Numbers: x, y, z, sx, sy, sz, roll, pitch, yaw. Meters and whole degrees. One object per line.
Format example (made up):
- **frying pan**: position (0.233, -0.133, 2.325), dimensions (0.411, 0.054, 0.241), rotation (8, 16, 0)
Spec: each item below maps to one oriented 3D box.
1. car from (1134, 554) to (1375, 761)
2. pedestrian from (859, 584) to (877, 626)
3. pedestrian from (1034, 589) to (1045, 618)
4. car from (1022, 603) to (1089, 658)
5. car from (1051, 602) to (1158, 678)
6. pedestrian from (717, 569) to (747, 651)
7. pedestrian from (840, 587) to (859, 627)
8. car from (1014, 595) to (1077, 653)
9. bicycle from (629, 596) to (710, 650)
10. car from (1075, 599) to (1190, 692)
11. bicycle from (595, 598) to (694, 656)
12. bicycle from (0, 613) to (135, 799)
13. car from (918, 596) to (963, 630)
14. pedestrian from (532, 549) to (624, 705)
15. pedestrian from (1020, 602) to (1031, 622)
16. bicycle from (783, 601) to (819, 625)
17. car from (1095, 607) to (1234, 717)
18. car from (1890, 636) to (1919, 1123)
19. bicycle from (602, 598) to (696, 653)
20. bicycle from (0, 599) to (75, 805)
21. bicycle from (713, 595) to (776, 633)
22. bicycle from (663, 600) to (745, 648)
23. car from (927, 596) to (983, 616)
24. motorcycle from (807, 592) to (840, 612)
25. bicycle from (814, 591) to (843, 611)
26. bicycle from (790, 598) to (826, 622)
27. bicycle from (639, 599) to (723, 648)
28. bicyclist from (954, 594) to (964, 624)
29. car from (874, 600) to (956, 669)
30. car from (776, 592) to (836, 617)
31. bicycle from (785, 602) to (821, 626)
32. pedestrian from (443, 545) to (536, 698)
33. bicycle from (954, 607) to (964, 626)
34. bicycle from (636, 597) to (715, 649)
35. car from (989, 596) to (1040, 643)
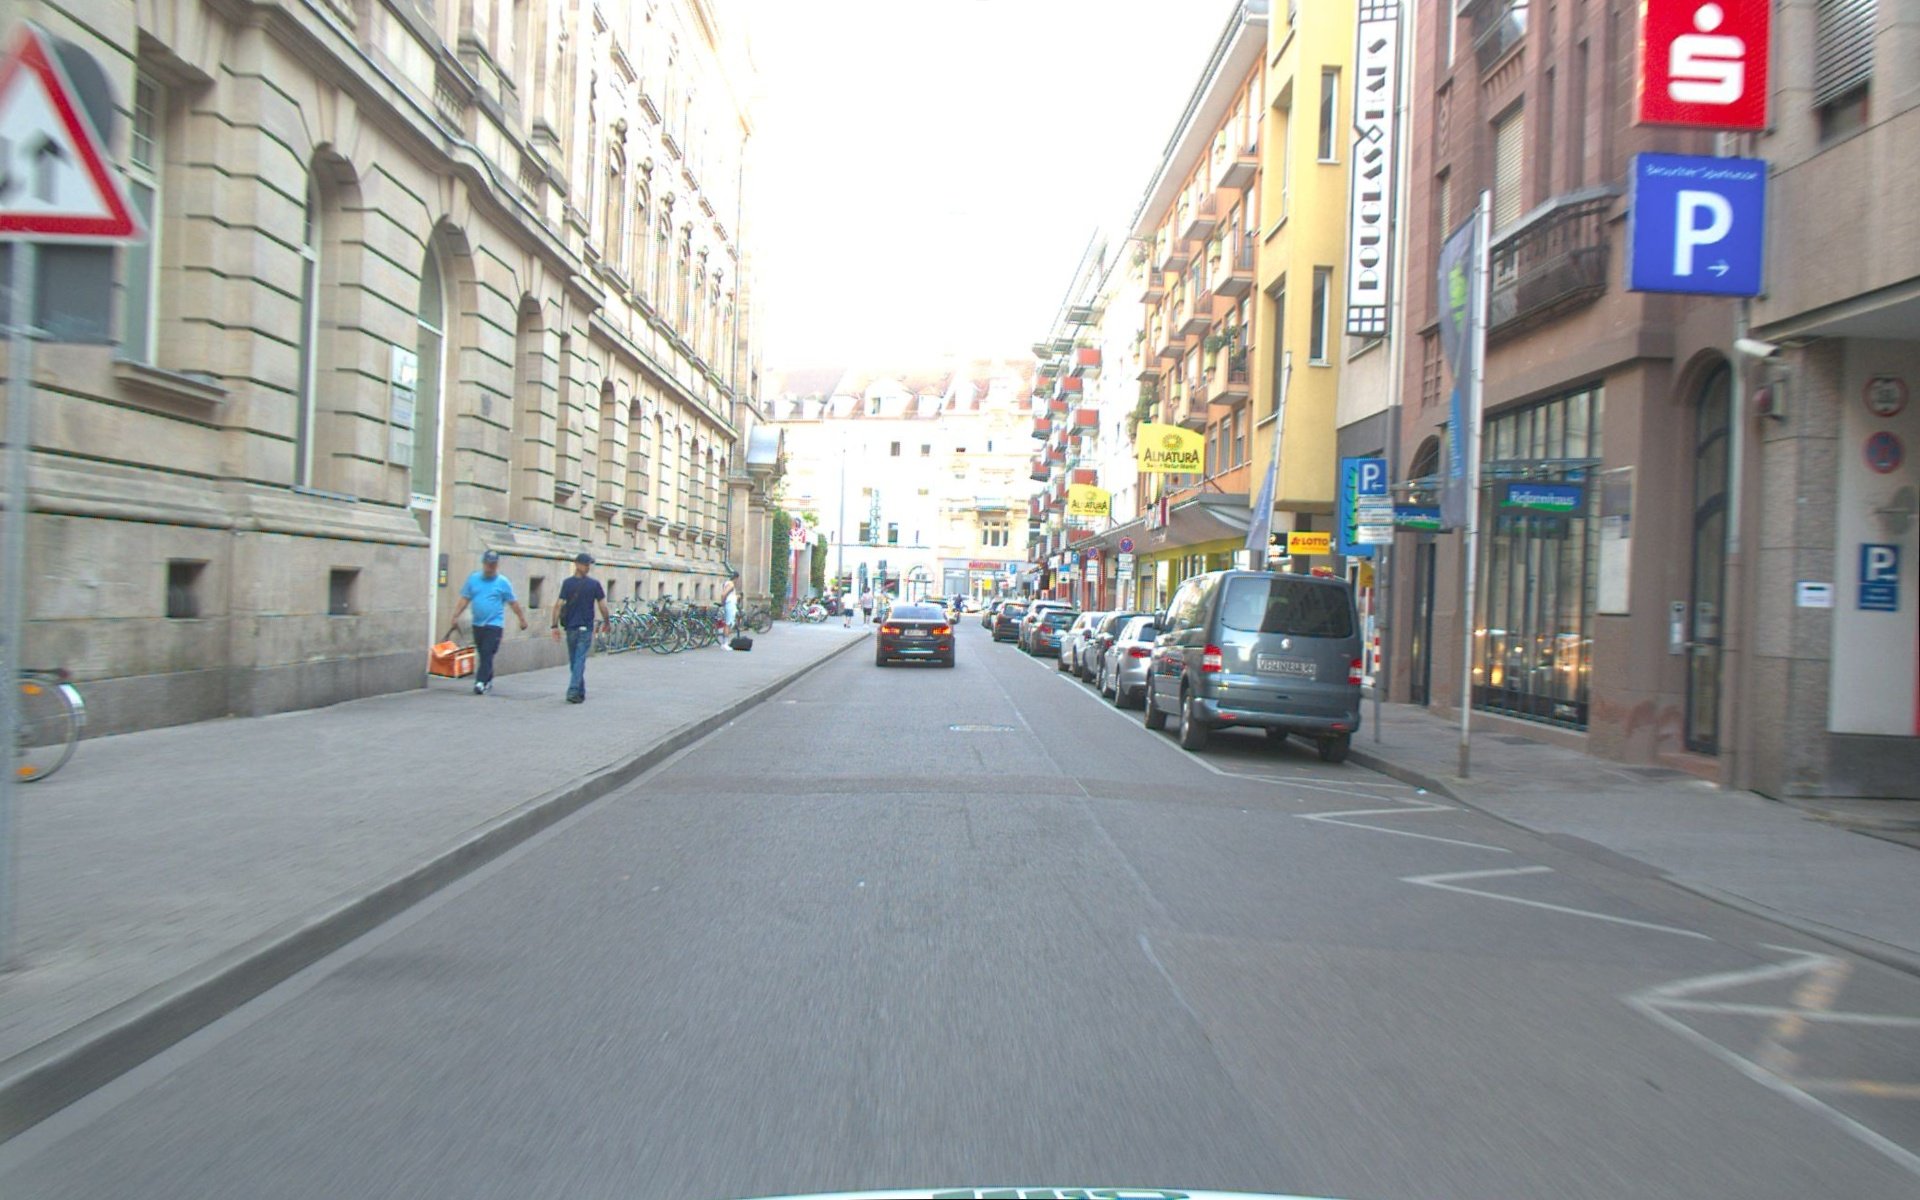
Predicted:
- **car**: position (3.372, 0.619, 19.968), dimensions (1.809, 2.094, 5.052), rotation (3, 0, -1)
- **pedestrian**: position (-4.351, 0.236, 78.362), dimensions (0.729, 1.926, 1.050), rotation (3, 0, 0)
- **pedestrian**: position (4.693, 0.218, 97.653), dimensions (0.634, 1.690, 0.655), rotation (-1, 0, 1)
- **car**: position (2.853, 0.879, 50.185), dimensions (1.657, 1.439, 4.756), rotation (4, 0, 0)
- **car**: position (3.194, 0.843, 37.339), dimensions (1.658, 1.435, 4.636), rotation (4, 0, -4)
- **pedestrian**: position (-5.417, 0.230, 39.291), dimensions (0.577, 1.883, 0.753), rotation (3, 0, -6)
- **pedestrian**: position (-5.194, 0.340, 78.059), dimensions (0.726, 1.844, 1.008), rotation (4, 0, -1)
- **car**: position (2.813, 0.760, 55.153), dimensions (1.716, 1.697, 4.756), rotation (4, 0, 0)
- **bicycle**: position (-6.660, 0.532, 37.984), dimensions (1.760, 1.127, 0.499), rotation (3, -1, -7)
- **car**: position (3.281, 0.830, 32.169), dimensions (1.586, 1.542, 4.172), rotation (4, 0, -2)
- **bicycle**: position (-6.577, 0.562, 34.519), dimensions (1.898, 1.080, 0.619), rotation (3, -1, -2)
- **bicycle**: position (-6.236, 0.609, 10.167), dimensions (1.898, 1.064, 0.721), rotation (3, 0, -6)
- **car**: position (-0.870, 0.572, 76.804), dimensions (1.838, 1.498, 4.002), rotation (1, 0, 3)
- **pedestrian**: position (-4.561, 0.321, 19.818), dimensions (0.793, 1.781, 0.969), rotation (3, -1, -1)
- **pedestrian**: position (4.274, 0.799, 107.615), dimensions (0.672, 1.309, 0.609), rotation (0, -1, 8)
- **bicycle**: position (-7.941, 0.666, 82.648), dimensions (1.758, 1.127, 0.500), rotation (2, 0, -2)
- **car**: position (3.253, 0.941, 27.054), dimensions (1.652, 1.478, 4.498), rotation (4, 0, 0)
- **car**: position (3.801, 0.879, 3.043), dimensions (1.623, 1.473, 4.306), rotation (3, 0, -2)
- **bicycle**: position (-6.713, 0.548, 35.764), dimensions (1.900, 1.080, 0.619), rotation (3, -1, -7)
- **bicycle**: position (-6.142, 0.504, 9.250), dimensions (1.898, 1.097, 0.748), rotation (4, -1, -2)
- **bicycle**: position (-7.027, 0.459, 53.899), dimensions (1.906, 1.080, 0.617), rotation (5, -1, -16)
- **bicycle**: position (-6.333, 0.588, 41.048), dimensions (1.899, 1.080, 0.619), rotation (3, -1, -3)
- **car**: position (-0.446, 0.495, 137.860), dimensions (4.263, 1.589, 1.868), rotation (1, -1, 22)
- **motorcycle**: position (-8.228, 0.118, 99.603), dimensions (1.765, 1.082, 0.764), rotation (3, 0, 25)
- **bicycle**: position (-8.133, 0.066, 102.382), dimensions (1.760, 1.127, 0.499), rotation (3, 0, -6)
- **bicycle**: position (-7.791, 0.515, 84.827), dimensions (1.757, 1.127, 0.500), rotation (3, 0, 2)
- **bicycle**: position (-6.738, 0.564, 39.997), dimensions (1.900, 1.080, 0.619), rotation (3, -1, -7)
- **bicyclist**: position (-0.048, 0.533, 99.882), dimensions (0.513, 1.787, 0.620), rotation (2, 0, 0)
- **car**: position (-1.003, 0.750, 38.600), dimensions (1.729, 1.399, 4.790), rotation (2, 0, 0)
- **car**: position (-10.402, 0.295, 111.773), dimensions (3.913, 1.527, 1.887), rotation (1, 0, -9)
- **bicycle**: position (-7.810, 0.675, 82.304), dimensions (1.758, 1.127, 0.500), rotation (2, 0, -1)
- **pedestrian**: position (-5.743, 0.258, 20.234), dimensions (0.812, 1.776, 0.769), rotation (4, 0, -1)
- **bicycle**: position (-0.067, 0.971, 99.903), dimensions (0.525, 1.127, 1.800), rotation (2, 0, 0)
- **bicycle**: position (-6.731, 0.534, 39.183), dimensions (1.760, 1.127, 0.499), rotation (3, -1, -7)
- **car**: position (2.173, 0.739, 64.388), dimensions (1.757, 1.637, 4.488), rotation (4, 0, 3)
